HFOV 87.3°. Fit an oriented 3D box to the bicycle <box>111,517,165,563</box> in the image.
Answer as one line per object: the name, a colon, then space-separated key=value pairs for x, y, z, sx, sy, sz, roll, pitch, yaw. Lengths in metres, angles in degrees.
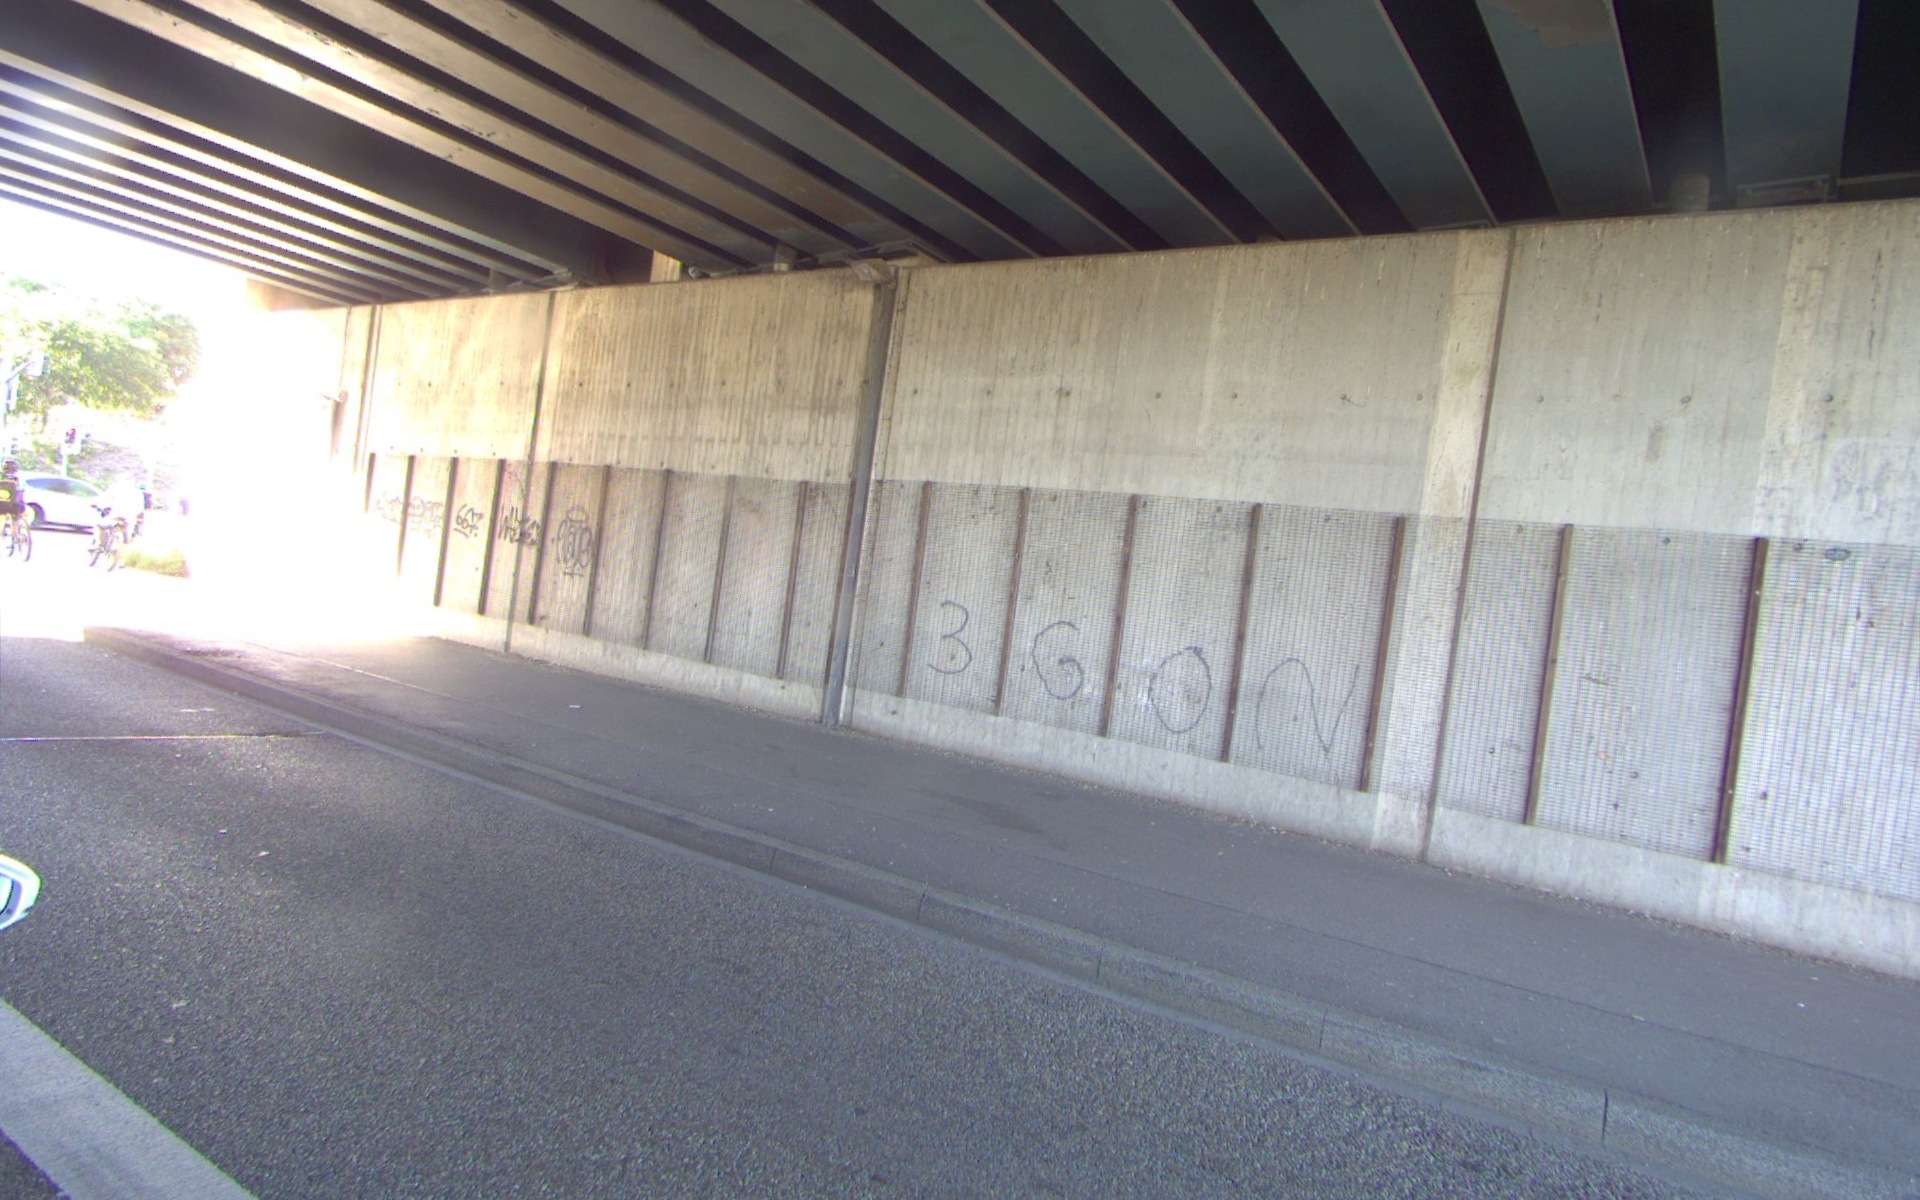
bicycle: x=-21.292 y=-1.556 z=26.041 sx=2.027 sy=1.035 sz=0.671 roll=6 pitch=-2 yaw=42

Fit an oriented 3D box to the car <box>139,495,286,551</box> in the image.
car: x=-31.399 y=-3.199 z=42.377 sx=1.801 sy=1.531 sz=4.548 roll=6 pitch=-3 yaw=39

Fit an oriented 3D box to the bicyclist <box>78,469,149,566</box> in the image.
bicyclist: x=-14.660 y=-1.428 z=17.423 sx=0.756 sy=1.566 sz=0.593 roll=6 pitch=-1 yaw=32

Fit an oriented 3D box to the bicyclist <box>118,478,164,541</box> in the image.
bicyclist: x=-21.233 y=-2.341 z=26.075 sx=0.740 sy=1.491 sz=0.664 roll=6 pitch=-1 yaw=40

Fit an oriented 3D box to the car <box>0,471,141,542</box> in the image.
car: x=-27.054 y=-2.786 z=29.712 sx=1.851 sy=1.561 sz=4.197 roll=7 pitch=-1 yaw=7

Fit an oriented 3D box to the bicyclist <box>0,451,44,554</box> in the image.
bicyclist: x=-16.144 y=-1.659 z=17.012 sx=0.927 sy=1.632 sz=0.593 roll=6 pitch=-1 yaw=32

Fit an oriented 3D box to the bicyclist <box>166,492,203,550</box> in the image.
bicyclist: x=-21.483 y=-2.194 z=27.857 sx=0.646 sy=1.499 sz=0.611 roll=8 pitch=0 yaw=-39

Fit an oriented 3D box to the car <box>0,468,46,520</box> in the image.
car: x=-33.509 y=-3.843 z=33.146 sx=1.796 sy=1.531 sz=4.562 roll=7 pitch=-2 yaw=27

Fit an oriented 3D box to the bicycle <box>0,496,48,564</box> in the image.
bicycle: x=-16.194 y=-1.220 z=17.022 sx=1.721 sy=1.035 sz=0.593 roll=6 pitch=-1 yaw=32

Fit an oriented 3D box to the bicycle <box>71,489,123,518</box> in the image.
bicycle: x=-41.064 y=-4.585 z=47.889 sx=0.586 sy=1.035 sz=1.743 roll=6 pitch=-2 yaw=43

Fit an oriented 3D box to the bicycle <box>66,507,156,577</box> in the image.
bicycle: x=-14.716 y=-1.008 z=17.422 sx=1.721 sy=1.035 sz=0.593 roll=6 pitch=-1 yaw=32
